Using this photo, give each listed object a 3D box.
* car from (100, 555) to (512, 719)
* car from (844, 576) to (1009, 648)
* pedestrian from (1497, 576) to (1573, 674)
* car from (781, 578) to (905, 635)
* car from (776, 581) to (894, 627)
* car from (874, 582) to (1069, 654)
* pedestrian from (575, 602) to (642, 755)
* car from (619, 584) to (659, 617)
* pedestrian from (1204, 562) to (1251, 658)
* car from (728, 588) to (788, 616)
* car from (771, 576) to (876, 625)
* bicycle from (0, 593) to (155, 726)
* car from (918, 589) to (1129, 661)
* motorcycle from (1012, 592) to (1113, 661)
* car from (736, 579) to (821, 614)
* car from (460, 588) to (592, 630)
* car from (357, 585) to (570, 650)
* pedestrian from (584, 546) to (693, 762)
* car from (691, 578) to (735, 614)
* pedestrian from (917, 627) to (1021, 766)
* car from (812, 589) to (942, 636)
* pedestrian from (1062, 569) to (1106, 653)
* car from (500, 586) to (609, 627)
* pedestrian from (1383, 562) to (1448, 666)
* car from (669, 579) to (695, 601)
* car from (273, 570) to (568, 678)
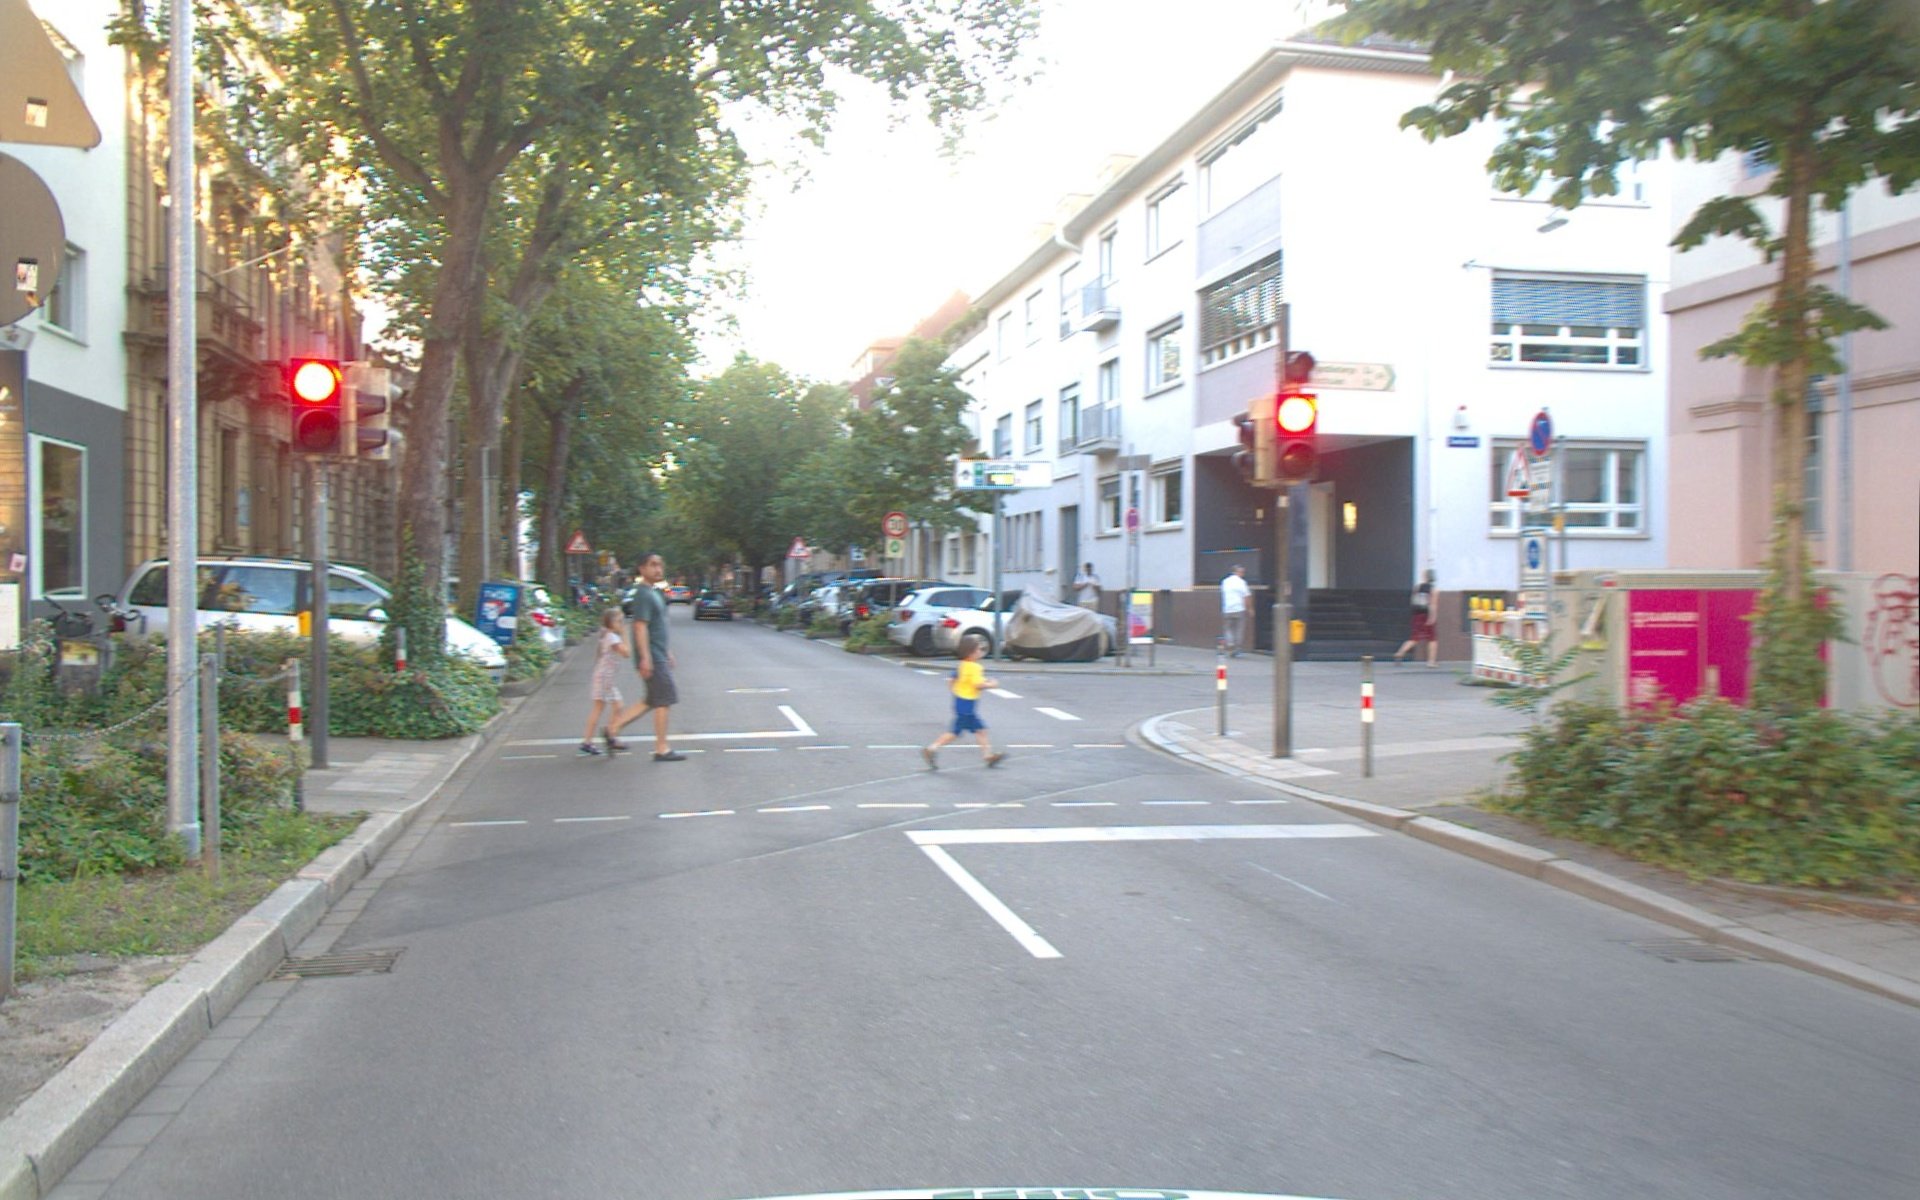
[{"bbox_3d":[-7.843,0.399,20.300,4.471,1.867,1.826,0,0,-14],"label":"car"},{"bbox_3d":[-0.867,0.283,41.889,3.943,1.720,1.702,-1,0,-12],"label":"car"},{"bbox_3d":[9.469,0.409,27.268,0.959,1.584,0.699,0,0,-11],"label":"pedestrian"},{"bbox_3d":[-3.912,0.198,55.087,3.943,1.847,1.702,-1,0,-12],"label":"car"},{"bbox_3d":[-4.384,0.138,57.818,3.943,1.557,1.702,0,0,-12],"label":"car"},{"bbox_3d":[0.218,0.361,35.567,3.943,1.467,1.702,-1,0,-12],"label":"car"},{"bbox_3d":[-3.211,0.707,15.133,0.529,1.359,0.506,0,0,-6],"label":"pedestrian"},{"bbox_3d":[-16.264,0.020,83.648,1.871,1.605,3.978,1,0,-13],"label":"car"},{"bbox_3d":[4.991,0.180,30.869,0.690,1.782,0.698,0,0,-7],"label":"pedestrian"},{"bbox_3d":[-13.661,0.154,111.957,3.943,1.862,1.702,0,0,-12],"label":"car"},{"bbox_3d":[-5.392,0.023,65.106,3.943,1.862,1.702,0,0,-12],"label":"car"},{"bbox_3d":[-8.863,0.545,16.549,0.721,1.207,2.628,1,0,-10],"label":"bicycle"},{"bbox_3d":[1.244,0.473,33.112,3.942,1.366,1.702,-1,0,-11],"label":"car"},{"bbox_3d":[1.851,0.470,29.966,1.764,1.220,0.612,-1,0,-2],"label":"motorcycle"},{"bbox_3d":[-8.754,-0.159,79.679,3.943,1.630,1.702,0,0,-12],"label":"car"},{"bbox_3d":[-15.638,0.311,59.779,4.466,1.434,1.828,0,0,-11],"label":"car"},{"bbox_3d":[-11.243,0.377,37.759,4.466,1.396,1.828,0,0,-11],"label":"car"},{"bbox_3d":[-2.816,0.456,14.570,0.871,1.847,0.793,0,1,-7],"label":"pedestrian"},{"bbox_3d":[-11.659,-0.187,77.806,1.793,1.589,4.016,1,0,-12],"label":"car"},{"bbox_3d":[0.067,0.810,14.054,0.818,1.140,0.566,0,0,-6],"label":"pedestrian"},{"bbox_3d":[-2.676,0.384,52.994,3.943,1.434,1.702,-1,0,-12],"label":"car"},{"bbox_3d":[2.795,0.233,37.292,0.753,1.873,0.941,0,0,-11],"label":"pedestrian"},{"bbox_3d":[-17.569,0.276,71.812,4.466,1.721,1.828,0,0,-11],"label":"car"},{"bbox_3d":[7.993,0.236,29.056,0.754,1.782,0.931,0,0,-11],"label":"pedestrian"},{"bbox_3d":[-22.088,-0.819,131.314,1.890,1.689,3.989,0,0,-11],"label":"car"},{"bbox_3d":[-8.936,0.368,27.756,4.466,1.718,1.828,0,0,-11],"label":"car"}]
